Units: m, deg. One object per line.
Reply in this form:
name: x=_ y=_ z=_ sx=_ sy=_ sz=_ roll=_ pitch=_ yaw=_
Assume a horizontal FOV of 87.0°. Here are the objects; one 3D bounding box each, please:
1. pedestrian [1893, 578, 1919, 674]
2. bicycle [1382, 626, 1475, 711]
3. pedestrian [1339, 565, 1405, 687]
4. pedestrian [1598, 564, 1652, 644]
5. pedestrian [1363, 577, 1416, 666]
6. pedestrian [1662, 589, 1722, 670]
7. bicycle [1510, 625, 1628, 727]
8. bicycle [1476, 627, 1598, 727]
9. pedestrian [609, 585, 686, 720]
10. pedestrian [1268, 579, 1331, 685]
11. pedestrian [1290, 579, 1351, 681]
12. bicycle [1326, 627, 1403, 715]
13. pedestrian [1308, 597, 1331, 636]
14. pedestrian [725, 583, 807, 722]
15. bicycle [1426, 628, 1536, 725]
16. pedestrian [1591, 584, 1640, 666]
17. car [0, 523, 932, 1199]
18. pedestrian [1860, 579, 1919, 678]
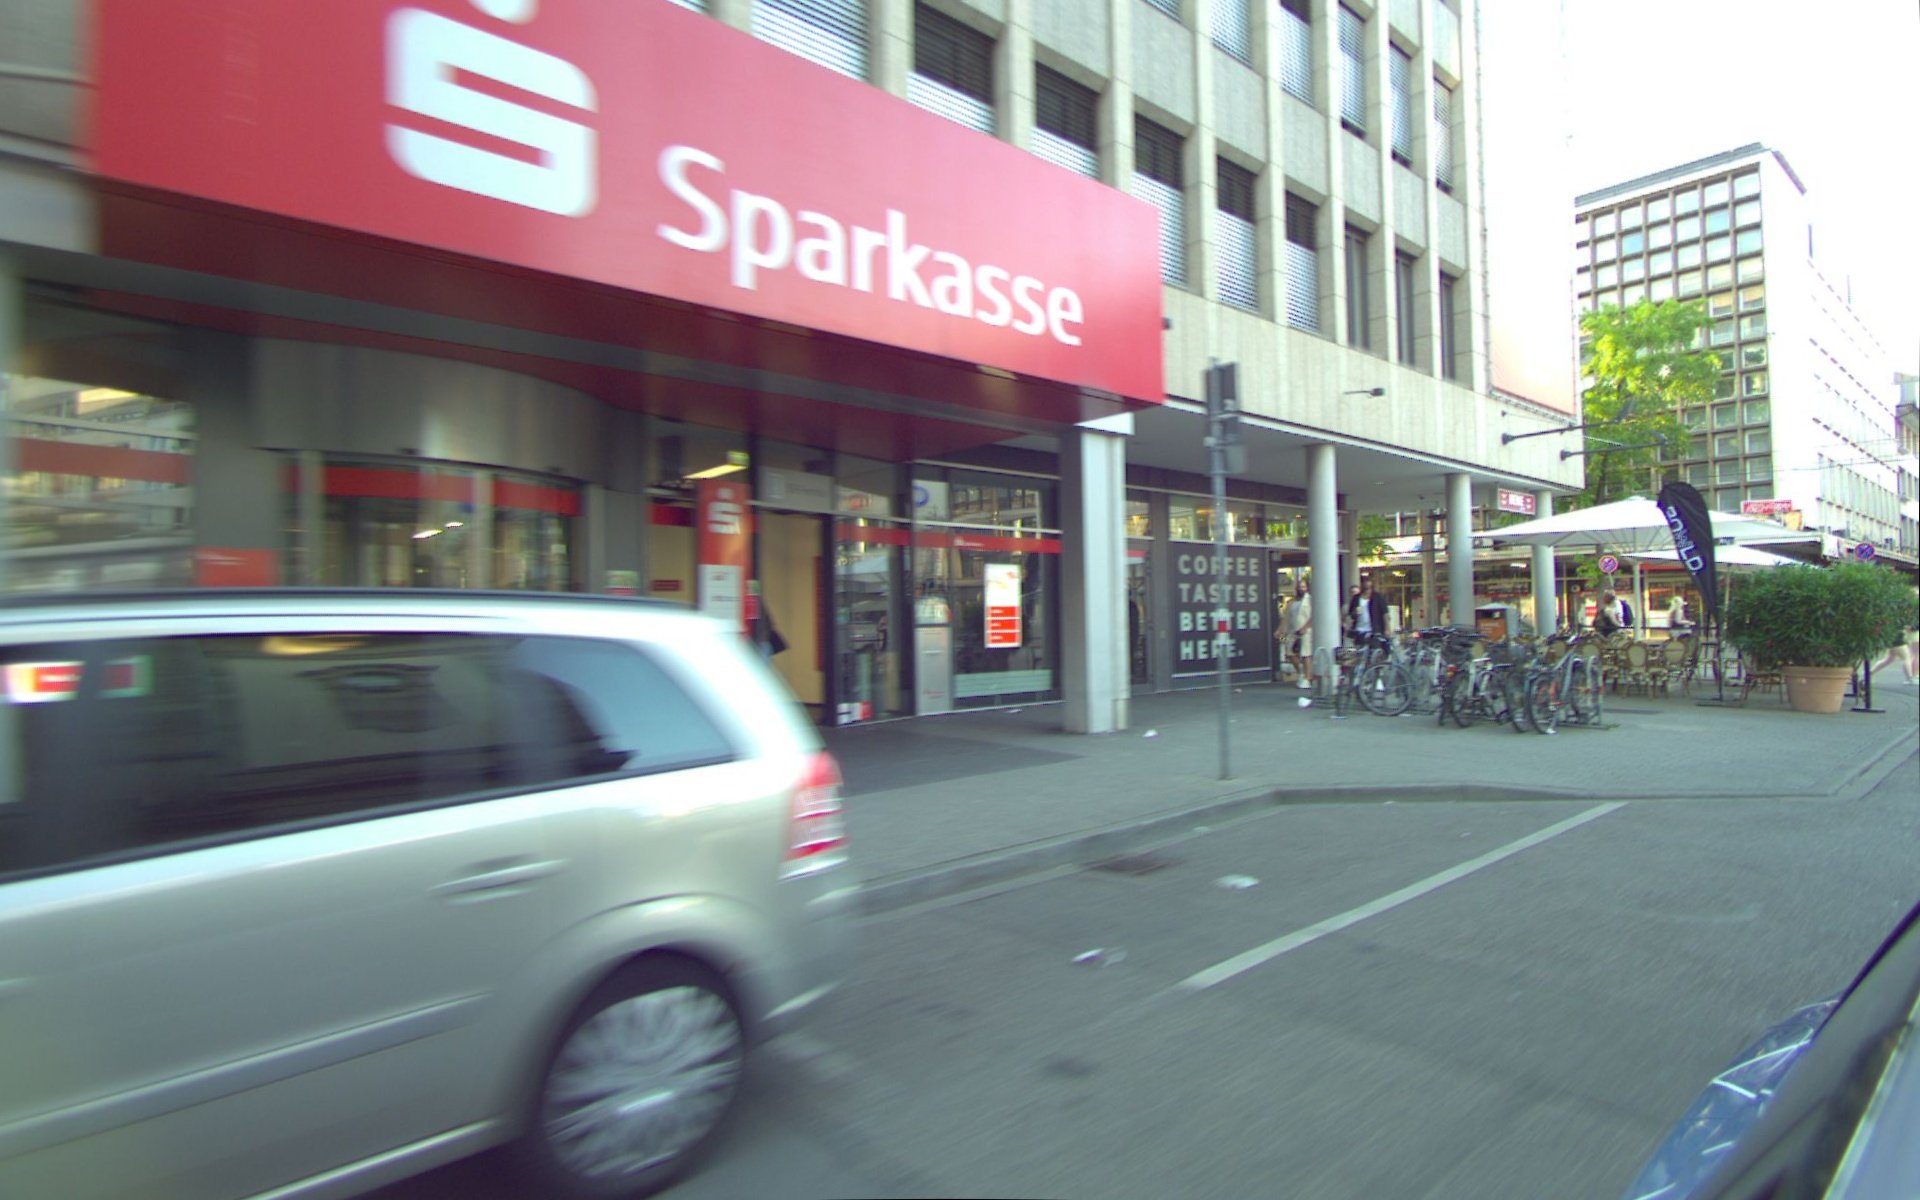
pedestrian: x=17.406 y=0.461 z=18.198 sx=0.755 sy=1.711 sz=0.795 roll=0 pitch=-1 yaw=-38
bicycle: x=6.286 y=0.882 z=13.535 sx=1.831 sy=1.046 sz=0.382 roll=0 pitch=-1 yaw=-40
pedestrian: x=6.771 y=0.422 z=16.638 sx=0.797 sy=1.943 sz=0.676 roll=-2 pitch=-2 yaw=44
pedestrian: x=14.578 y=0.101 z=22.197 sx=0.786 sy=1.711 sz=0.764 roll=-1 pitch=-1 yaw=21
pedestrian: x=8.837 y=0.435 z=20.849 sx=0.785 sy=1.784 sz=0.687 roll=-1 pitch=-1 yaw=2
pedestrian: x=14.774 y=0.577 z=20.425 sx=0.756 sy=1.586 sz=0.795 roll=0 pitch=-2 yaw=-41
bicycle: x=6.823 y=0.819 z=11.313 sx=1.827 sy=1.046 sz=0.330 roll=0 pitch=-1 yaw=-33
bicycle: x=6.637 y=0.846 z=11.609 sx=1.827 sy=1.046 sz=0.383 roll=0 pitch=-1 yaw=-33
pedestrian: x=-4.067 y=0.673 z=13.165 sx=0.739 sy=1.683 sz=0.640 roll=-4 pitch=-3 yaw=40
pedestrian: x=5.872 y=0.537 z=17.513 sx=0.797 sy=1.784 sz=0.676 roll=-2 pitch=-2 yaw=44
pedestrian: x=6.506 y=0.530 z=18.268 sx=0.797 sy=1.784 sz=0.676 roll=-2 pitch=-2 yaw=45
bicycle: x=5.316 y=0.887 z=13.232 sx=0.381 sy=1.046 sz=1.837 roll=-2 pitch=-1 yaw=39
pedestrian: x=15.769 y=0.729 z=44.341 sx=0.637 sy=1.682 sz=0.651 roll=1 pitch=1 yaw=-25
pedestrian: x=-2.445 y=0.651 z=12.764 sx=0.687 sy=1.683 sz=0.719 roll=-3 pitch=-3 yaw=38
bicycle: x=6.241 y=0.878 z=12.081 sx=1.829 sy=1.046 sz=0.383 roll=0 pitch=-1 yaw=-37
pedestrian: x=13.888 y=0.523 z=21.474 sx=0.789 sy=1.711 sz=0.761 roll=-1 pitch=-1 yaw=30
car: x=-2.427 y=0.718 z=2.379 sx=4.631 sy=1.619 sz=1.742 roll=0 pitch=-4 yaw=-41
pedestrian: x=16.587 y=0.492 z=17.945 sx=0.755 sy=1.711 sz=0.795 roll=0 pitch=-1 yaw=-38
